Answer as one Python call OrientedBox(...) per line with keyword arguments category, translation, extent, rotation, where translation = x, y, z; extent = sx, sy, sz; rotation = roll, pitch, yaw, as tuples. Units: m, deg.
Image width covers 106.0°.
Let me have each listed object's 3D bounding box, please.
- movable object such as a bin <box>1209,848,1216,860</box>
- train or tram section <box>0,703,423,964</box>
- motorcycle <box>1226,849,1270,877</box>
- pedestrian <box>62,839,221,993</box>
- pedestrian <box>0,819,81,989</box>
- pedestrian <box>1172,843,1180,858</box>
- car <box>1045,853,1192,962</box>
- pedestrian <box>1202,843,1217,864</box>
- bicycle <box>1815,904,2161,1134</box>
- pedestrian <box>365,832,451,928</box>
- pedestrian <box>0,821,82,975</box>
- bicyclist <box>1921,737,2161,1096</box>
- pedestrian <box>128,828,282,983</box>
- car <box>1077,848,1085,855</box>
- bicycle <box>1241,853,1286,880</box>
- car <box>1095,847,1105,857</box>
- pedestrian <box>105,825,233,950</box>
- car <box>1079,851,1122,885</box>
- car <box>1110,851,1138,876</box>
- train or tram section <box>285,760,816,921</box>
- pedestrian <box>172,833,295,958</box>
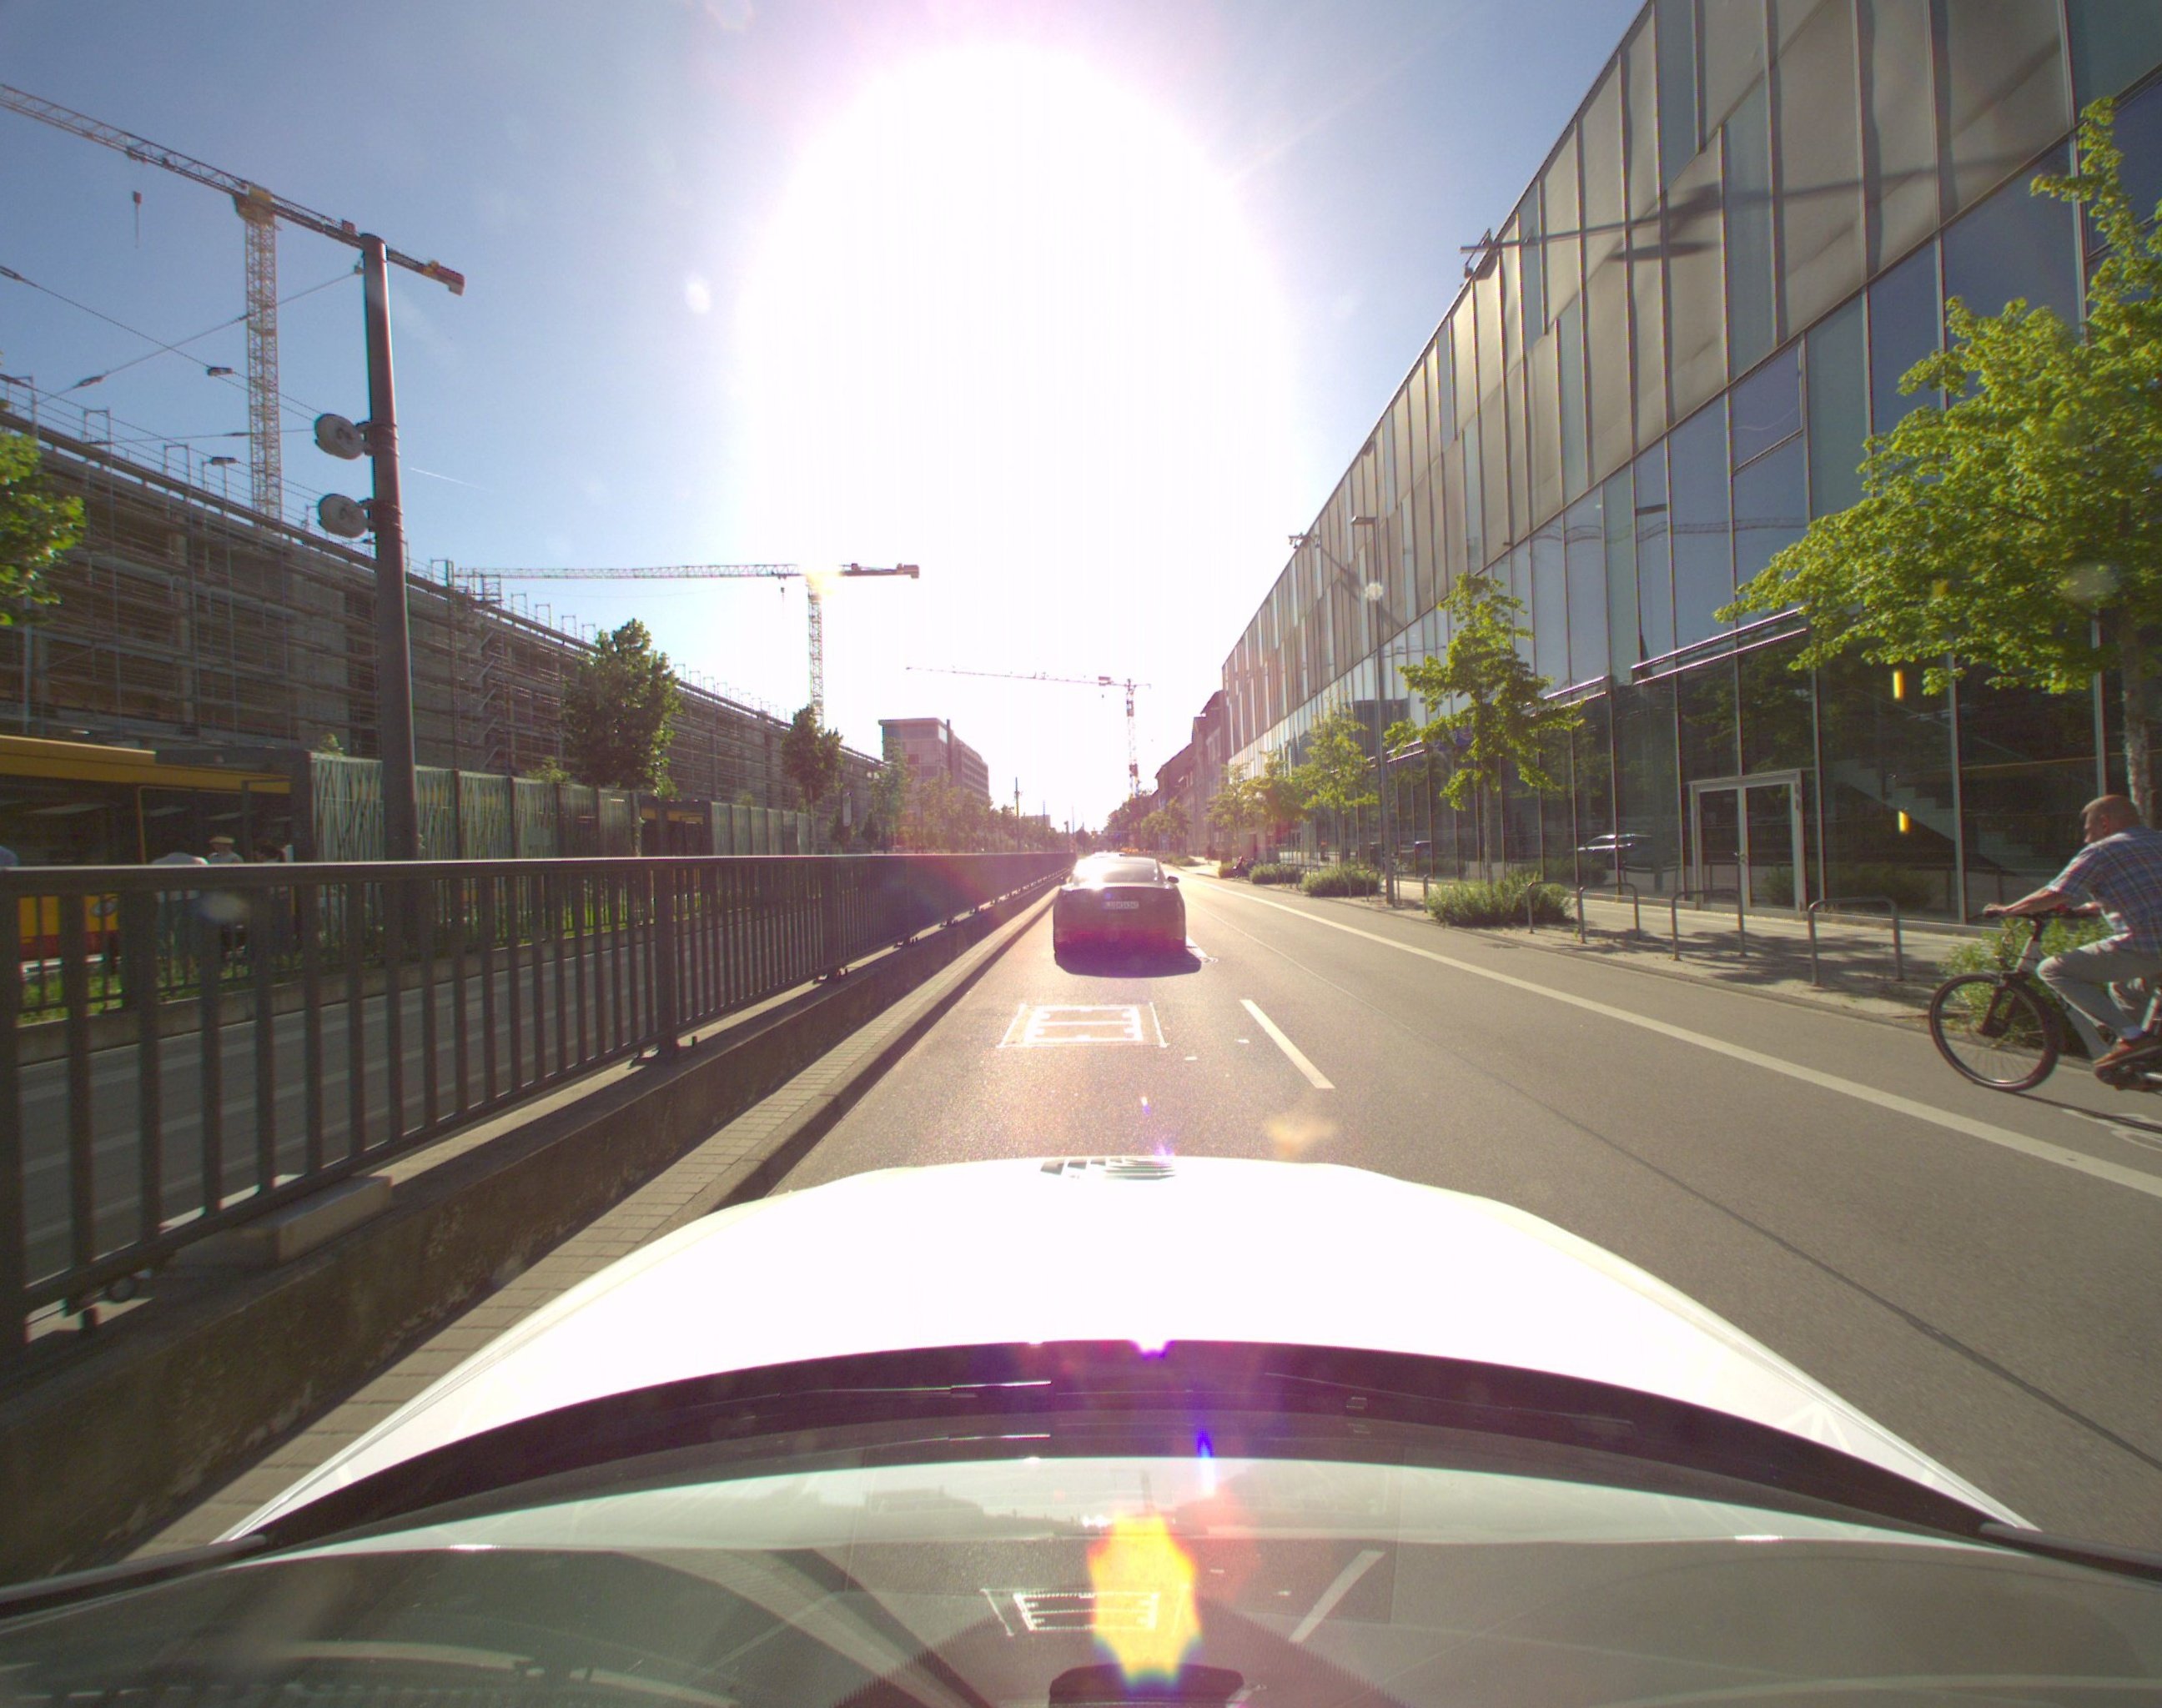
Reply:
OrientedBox(category="movable object such as a bin", translation=(12.820, -0.030, 79.354), extent=(0.556, 1.169, 0.563), rotation=(0, 0, 5))
OrientedBox(category="train or tram section", translation=(-15.062, -0.241, 8.977), extent=(2.859, 3.279, 15.192), rotation=(0, 0, 2))
OrientedBox(category="motorcycle", translation=(8.840, 0.484, 43.097), extent=(2.054, 1.353, 0.656), rotation=(-5, -1, 24))
OrientedBox(category="pedestrian", translation=(-10.572, 0.667, 9.196), extent=(0.738, 1.628, 0.862), rotation=(-2, 0, 3))
OrientedBox(category="pedestrian", translation=(-10.685, 0.488, 7.951), extent=(0.738, 1.628, 0.862), rotation=(-2, 0, 3))
OrientedBox(category="pedestrian", translation=(12.299, -0.480, 105.701), extent=(0.848, 1.863, 0.930), rotation=(-2, 0, 0))
OrientedBox(category="car", translation=(0.716, 0.739, 13.427), extent=(1.989, 1.434, 4.419), rotation=(-1, 0, 5))
OrientedBox(category="pedestrian", translation=(11.465, -0.051, 72.597), extent=(1.091, 1.863, 1.523), rotation=(-2, 0, 0))
OrientedBox(category="bicycle", translation=(5.527, 0.849, 4.540), extent=(0.726, 0.983, 2.332), rotation=(0, 0, -2))
OrientedBox(category="pedestrian", translation=(-11.899, 0.438, 14.433), extent=(0.738, 1.628, 0.862), rotation=(-2, 0, 3))
OrientedBox(category="pedestrian", translation=(-11.844, 0.476, 8.901), extent=(0.738, 1.628, 0.862), rotation=(-2, 0, 3))
OrientedBox(category="bicyclist", translation=(5.509, 0.287, 4.461), extent=(0.723, 1.736, 0.997), rotation=(-2, 0, -2))
OrientedBox(category="pedestrian", translation=(-9.785, 0.548, 9.134), extent=(0.738, 1.628, 0.862), rotation=(-2, 0, 3))
OrientedBox(category="car", translation=(0.082, -0.647, 203.674), extent=(1.987, 1.684, 4.000), rotation=(0, 0, 1))
OrientedBox(category="bicycle", translation=(8.610, 0.575, 38.459), extent=(1.881, 1.151, 0.669), rotation=(-4, 0, -9))
OrientedBox(category="car", translation=(3.964, -0.440, 167.302), extent=(1.806, 1.809, 4.042), rotation=(-2, 1, 3))
OrientedBox(category="pedestrian", translation=(-12.505, 0.442, 11.198), extent=(0.738, 1.628, 0.862), rotation=(-2, 0, 3))
OrientedBox(category="car", translation=(0.893, 0.568, 35.069), extent=(1.709, 1.319, 4.003), rotation=(-2, 1, 3))
OrientedBox(category="car", translation=(2.927, 0.604, 55.659), extent=(1.777, 1.546, 4.042), rotation=(-2, 1, 3))
OrientedBox(category="train or tram section", translation=(-14.417, -0.343, 27.644), extent=(2.859, 3.279, 22.153), rotation=(0, 0, 2))
OrientedBox(category="pedestrian", translation=(-11.635, 0.545, 11.211), extent=(0.738, 1.628, 0.862), rotation=(-2, 0, 3))
